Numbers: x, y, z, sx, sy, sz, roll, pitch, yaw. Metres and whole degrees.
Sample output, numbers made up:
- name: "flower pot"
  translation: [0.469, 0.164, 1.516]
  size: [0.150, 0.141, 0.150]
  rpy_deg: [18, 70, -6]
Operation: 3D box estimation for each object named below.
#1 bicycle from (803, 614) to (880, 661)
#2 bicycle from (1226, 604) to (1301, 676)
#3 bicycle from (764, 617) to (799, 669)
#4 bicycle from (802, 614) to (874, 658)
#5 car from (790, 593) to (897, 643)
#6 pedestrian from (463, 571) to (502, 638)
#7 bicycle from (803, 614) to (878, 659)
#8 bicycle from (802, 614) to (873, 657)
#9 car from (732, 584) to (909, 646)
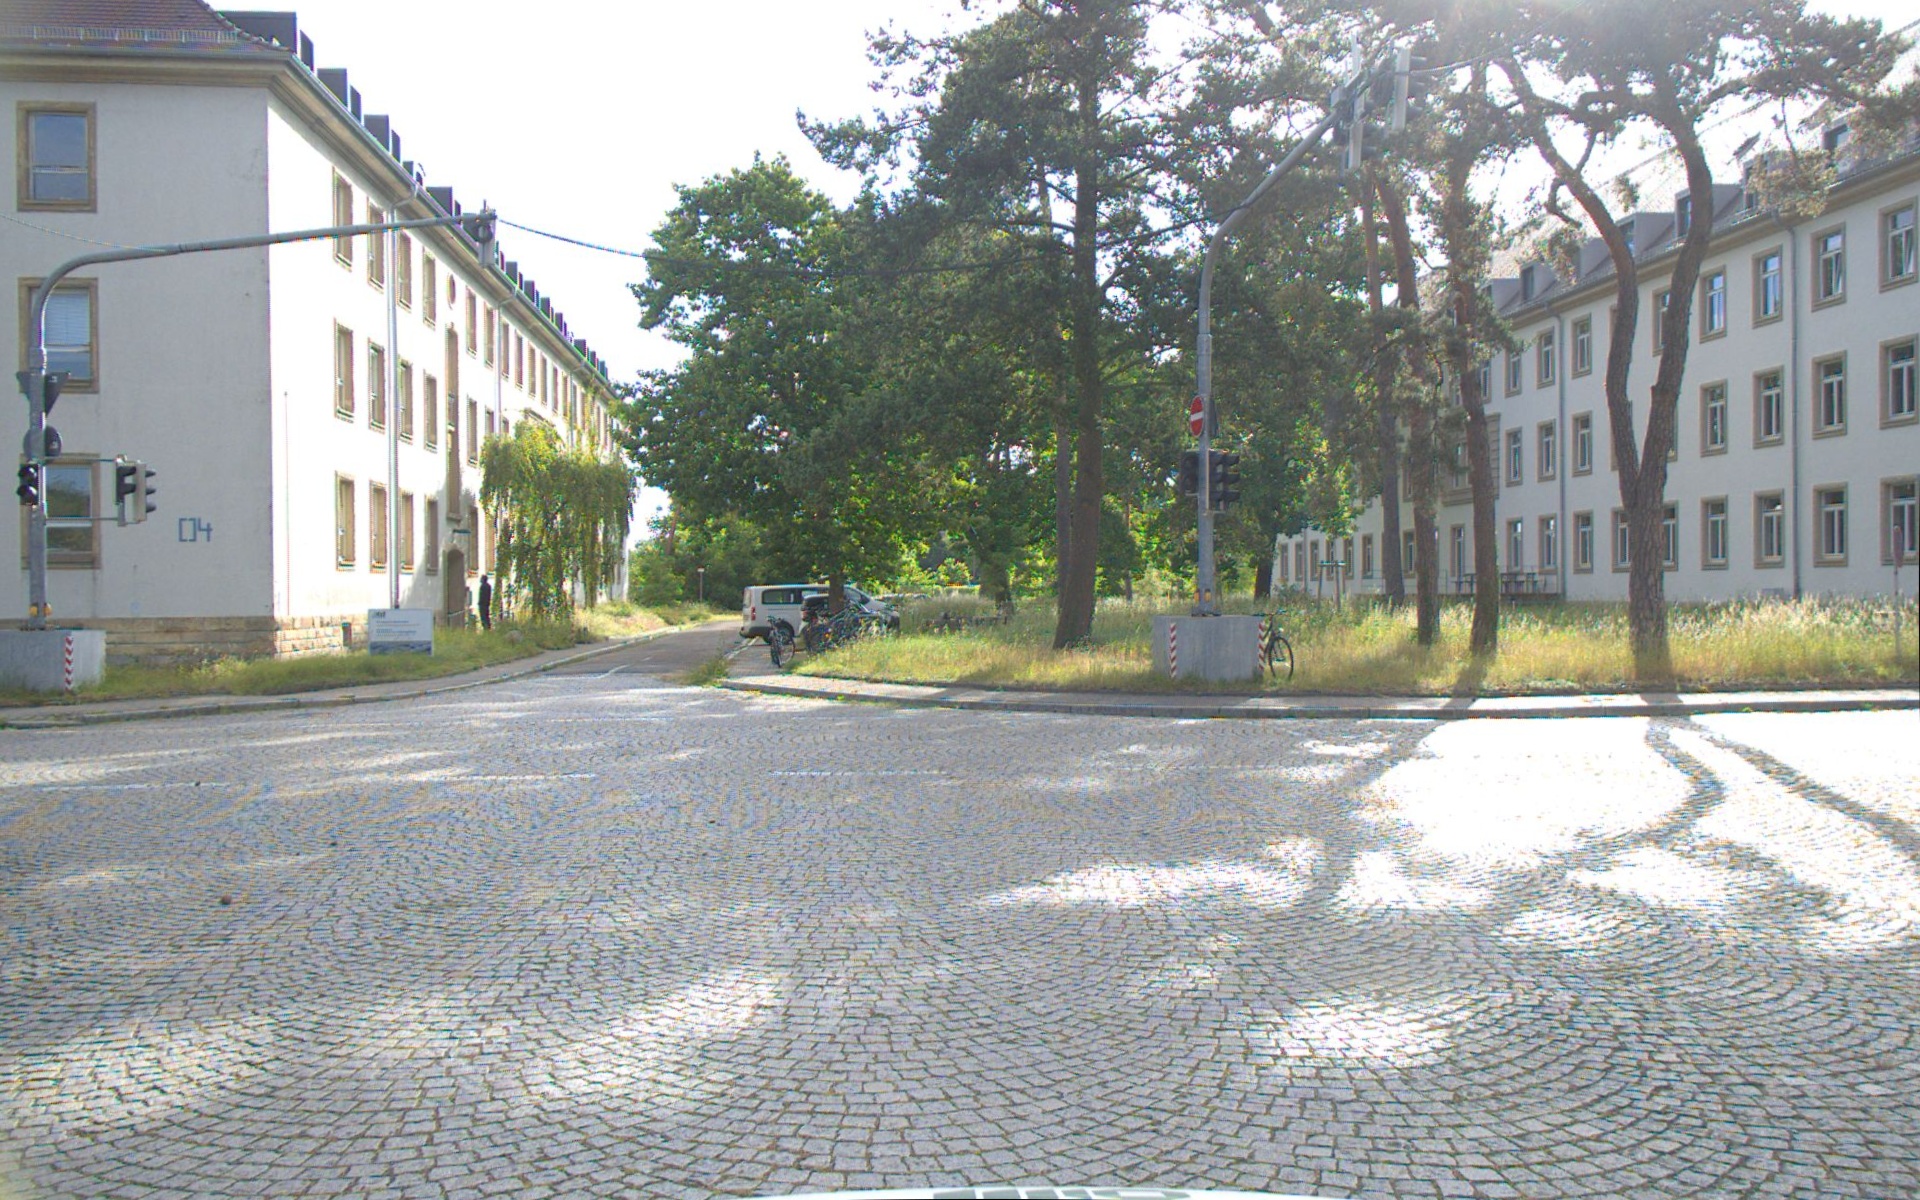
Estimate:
- name: "bicycle"
  translation: [-2.768, 0.871, 38.644]
  size: [1.759, 1.016, 0.643]
  rpy_deg: [-1, 1, -7]
- name: "bicycle"
  translation: [4.609, 0.593, 25.182]
  size: [0.552, 1.016, 1.748]
  rpy_deg: [-1, 1, -10]
- name: "bicycle"
  translation: [-3.761, 0.892, 34.935]
  size: [0.714, 1.016, 1.797]
  rpy_deg: [-1, 1, -6]
- name: "bicycle"
  translation: [-3.046, 0.889, 41.147]
  size: [1.759, 1.016, 0.643]
  rpy_deg: [-1, 1, -7]
- name: "car"
  translation: [-3.606, 0.568, 50.980]
  size: [2.986, 1.491, 1.711]
  rpy_deg: [0, -1, -19]
- name: "pedestrian"
  translation: [-14.389, 0.146, 49.838]
  size: [0.966, 1.998, 0.931]
  rpy_deg: [0, -1, -6]
- name: "bicycle"
  translation: [-2.867, 0.880, 39.658]
  size: [1.759, 1.016, 0.643]
  rpy_deg: [-1, 1, -7]
- name: "bicycle"
  translation: [-3.110, 0.893, 41.882]
  size: [1.759, 1.016, 0.643]
  rpy_deg: [-1, 1, -7]
- name: "car"
  translation: [-4.602, 0.469, 54.457]
  size: [5.419, 1.949, 2.241]
  rpy_deg: [0, -1, -20]
